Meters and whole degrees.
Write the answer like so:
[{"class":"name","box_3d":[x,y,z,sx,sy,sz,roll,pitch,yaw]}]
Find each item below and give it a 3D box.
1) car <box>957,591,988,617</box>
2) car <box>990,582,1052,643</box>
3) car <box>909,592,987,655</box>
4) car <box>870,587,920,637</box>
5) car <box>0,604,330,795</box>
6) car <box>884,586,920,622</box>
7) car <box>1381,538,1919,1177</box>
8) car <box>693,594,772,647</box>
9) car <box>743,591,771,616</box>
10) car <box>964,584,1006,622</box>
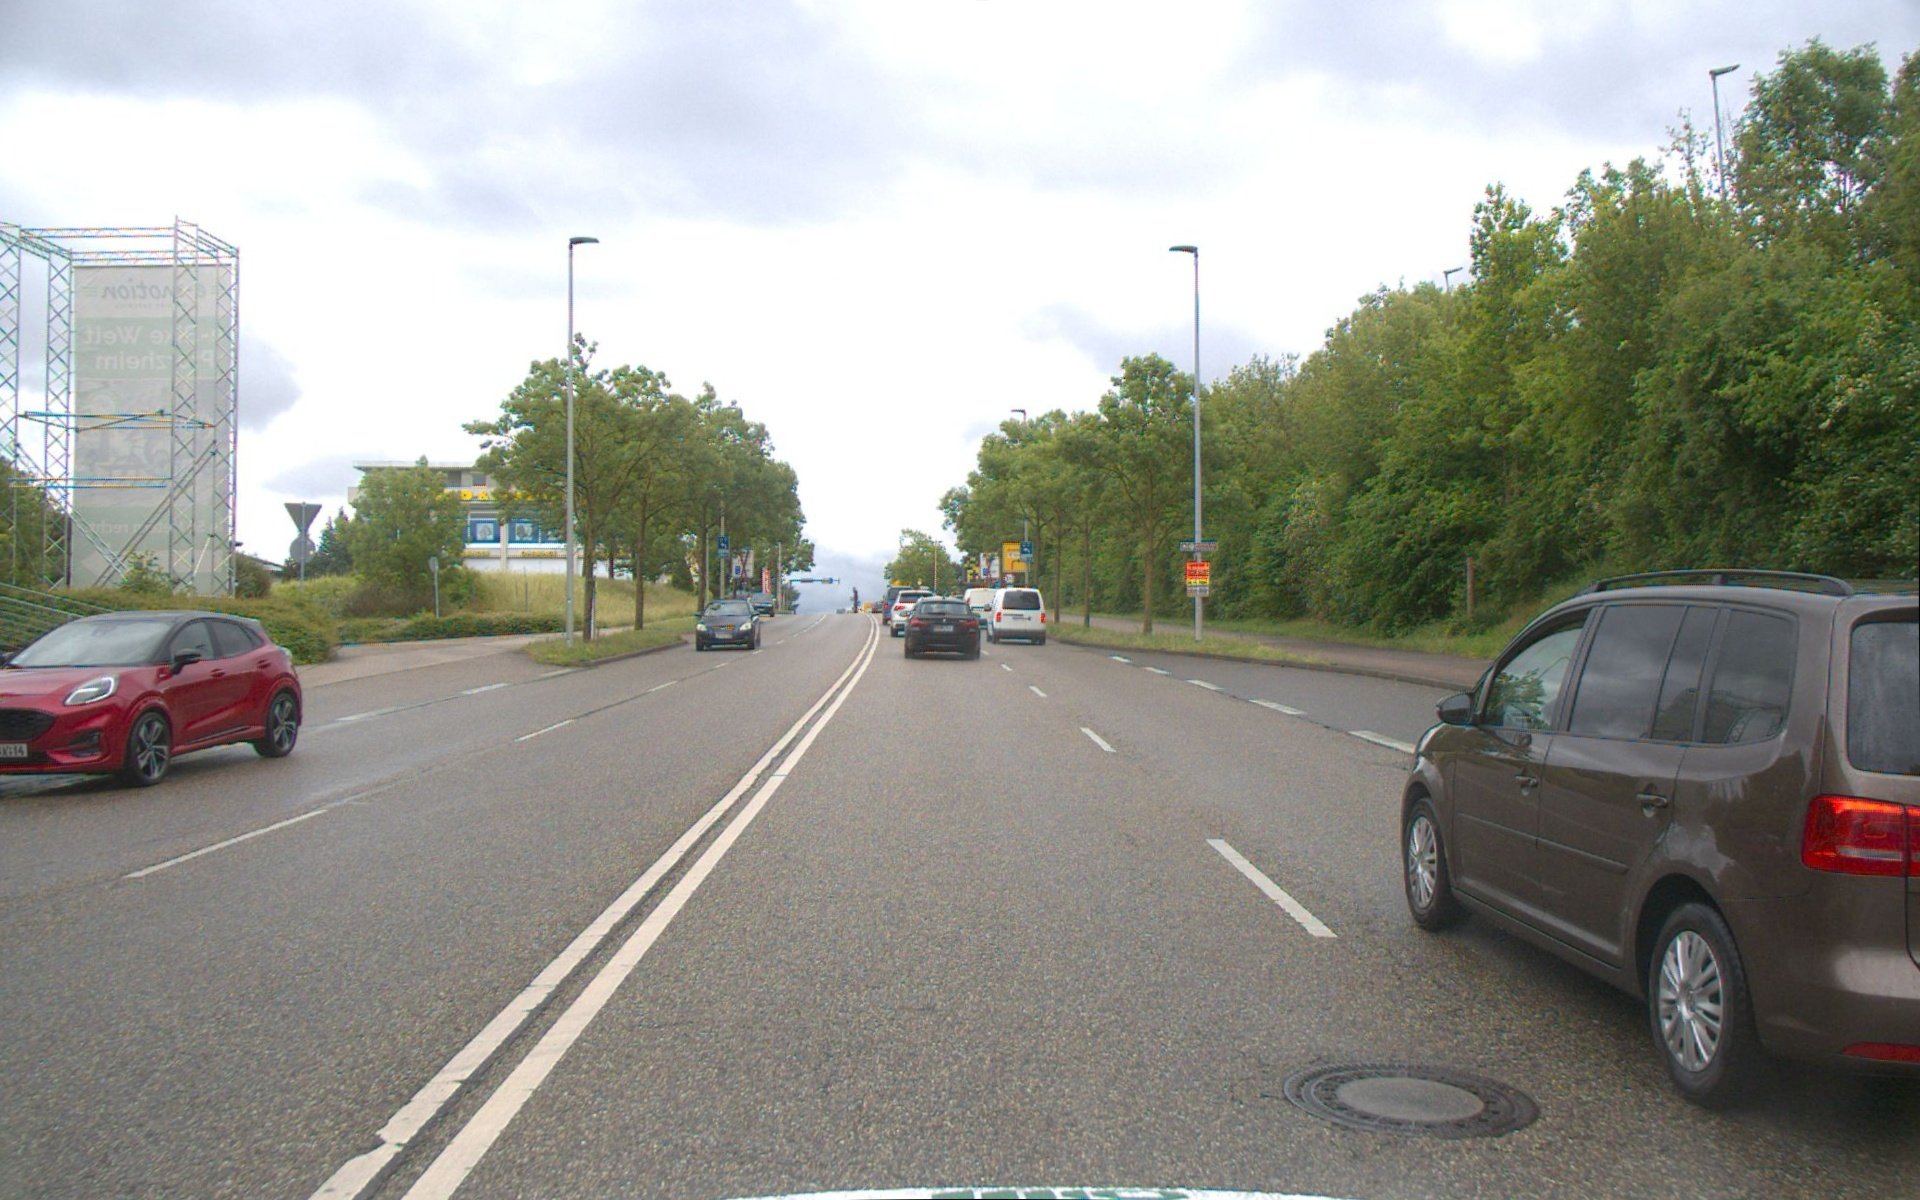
[{"class":"car","box_3d":[0.673,0.209,91.768,1.568,1.396,3.678,-1,0,-2]},{"class":"car","box_3d":[1.968,0.399,54.279,1.706,1.902,3.944,1,0,-2]},{"class":"car","box_3d":[-0.329,0.555,40.877,1.817,1.444,3.955,1,0,-1]},{"class":"car","box_3d":[-2.355,0.414,60.278,1.693,1.741,3.382,1,0,-1]},{"class":"car","box_3d":[-7.796,0.847,15.899,1.641,1.533,4.218,-1,0,3]},{"class":"car","box_3d":[-2.872,0.185,82.045,1.723,1.738,3.944,0,0,-2]},{"class":"car","box_3d":[3.063,0.672,6.321,1.679,1.624,4.128,1,0,-3]},{"class":"car","box_3d":[-6.864,0.581,50.232,1.701,1.479,4.001,-2,0,2]},{"class":"car","box_3d":[-14.478,0.217,118.222,1.692,1.697,4.484,1,0,-4]},{"class":"car","box_3d":[1.132,0.135,76.739,1.778,1.738,3.944,0,0,-2]}]
